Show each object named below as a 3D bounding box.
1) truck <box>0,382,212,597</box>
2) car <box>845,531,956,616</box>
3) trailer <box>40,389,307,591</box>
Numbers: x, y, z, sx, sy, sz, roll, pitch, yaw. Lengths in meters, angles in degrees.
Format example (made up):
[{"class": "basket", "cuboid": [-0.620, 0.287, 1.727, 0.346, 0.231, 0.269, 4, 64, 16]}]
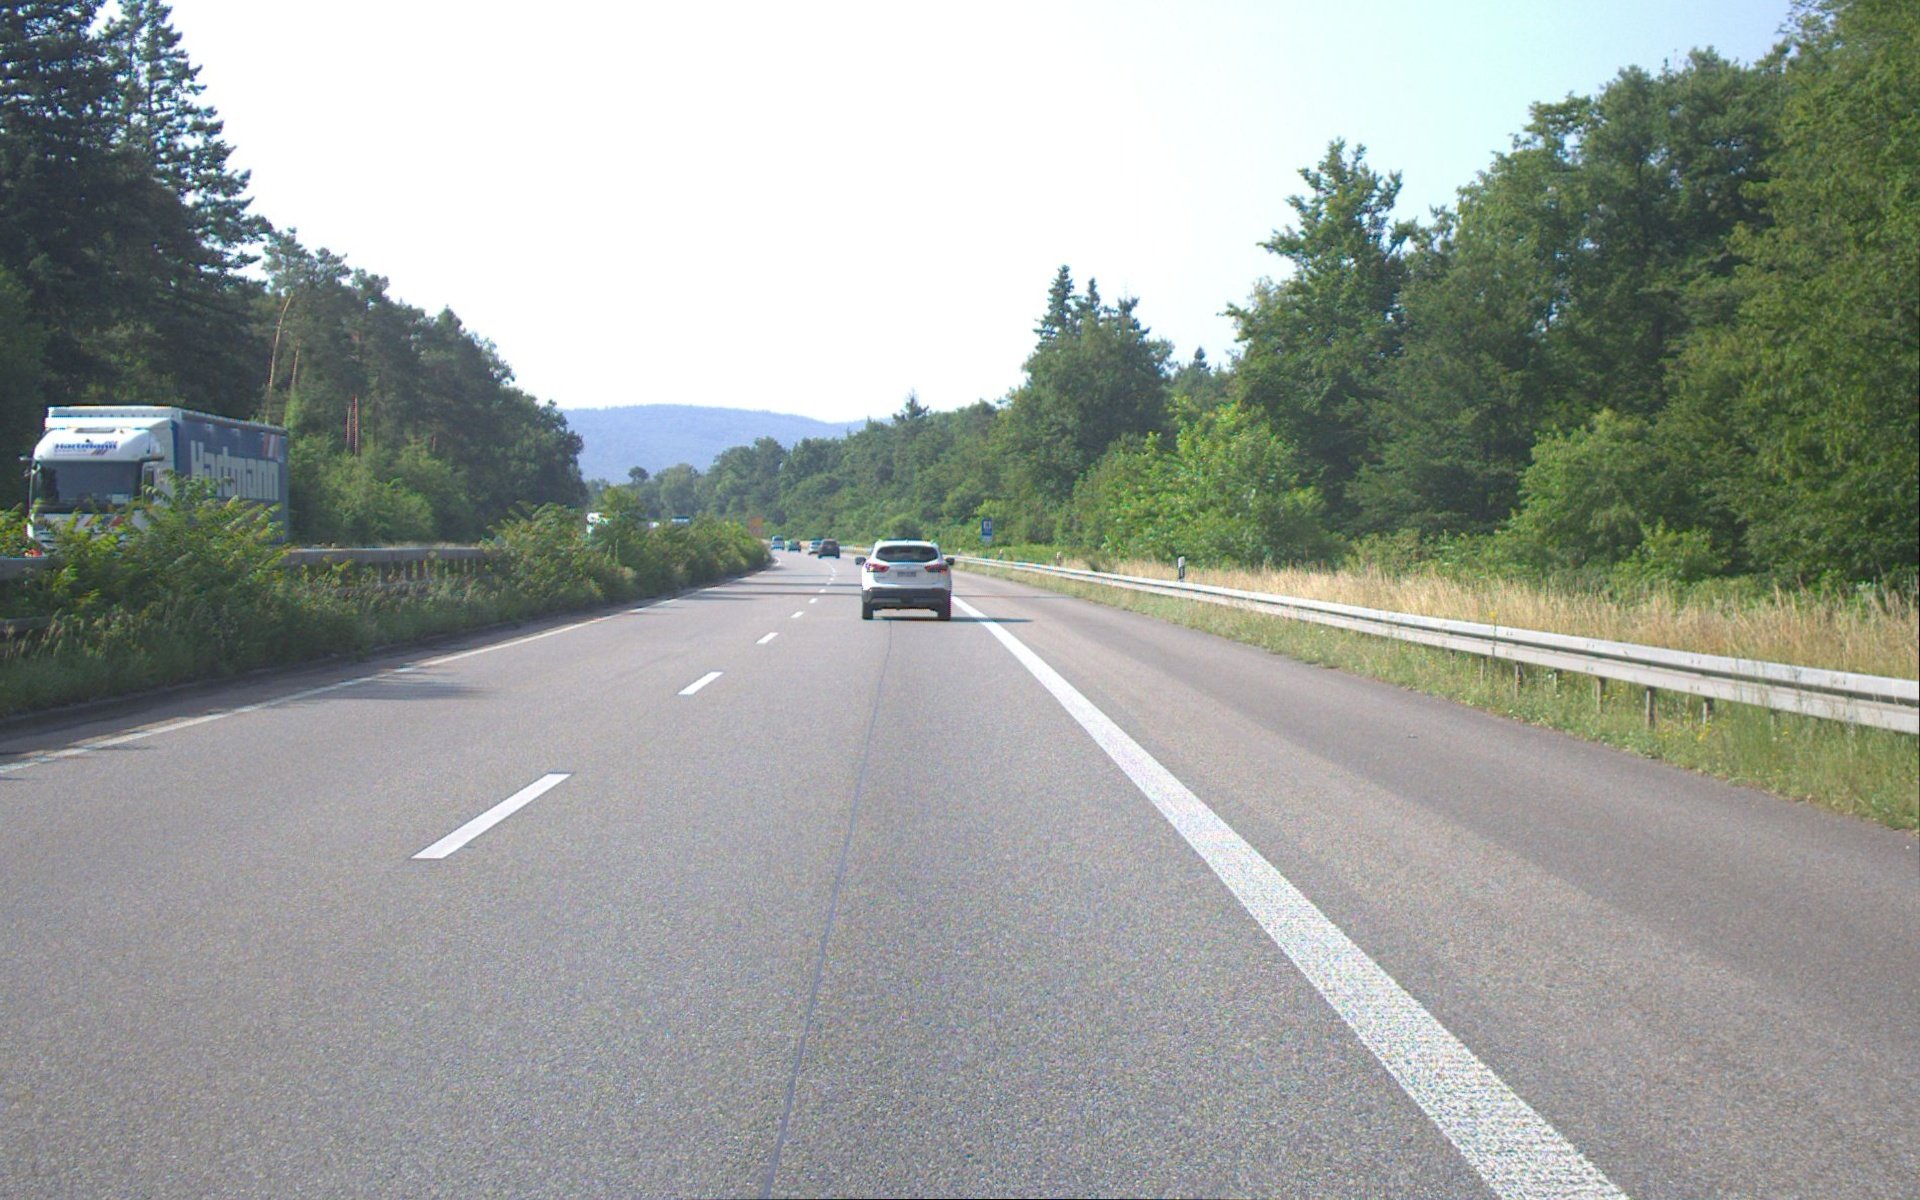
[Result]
[{"class": "truck", "cuboid": [-16.981, -2.158, 68.378, 2.892, 4.018, 6.026, -1, 1, -1]}, {"class": "car", "cuboid": [-1.232, -0.557, 69.496, 1.873, 1.581, 4.001, 3, 1, -6]}, {"class": "trailer", "cuboid": [-17.015, -2.323, 75.514, 2.892, 3.994, 13.324, -1, 1, -1]}]
